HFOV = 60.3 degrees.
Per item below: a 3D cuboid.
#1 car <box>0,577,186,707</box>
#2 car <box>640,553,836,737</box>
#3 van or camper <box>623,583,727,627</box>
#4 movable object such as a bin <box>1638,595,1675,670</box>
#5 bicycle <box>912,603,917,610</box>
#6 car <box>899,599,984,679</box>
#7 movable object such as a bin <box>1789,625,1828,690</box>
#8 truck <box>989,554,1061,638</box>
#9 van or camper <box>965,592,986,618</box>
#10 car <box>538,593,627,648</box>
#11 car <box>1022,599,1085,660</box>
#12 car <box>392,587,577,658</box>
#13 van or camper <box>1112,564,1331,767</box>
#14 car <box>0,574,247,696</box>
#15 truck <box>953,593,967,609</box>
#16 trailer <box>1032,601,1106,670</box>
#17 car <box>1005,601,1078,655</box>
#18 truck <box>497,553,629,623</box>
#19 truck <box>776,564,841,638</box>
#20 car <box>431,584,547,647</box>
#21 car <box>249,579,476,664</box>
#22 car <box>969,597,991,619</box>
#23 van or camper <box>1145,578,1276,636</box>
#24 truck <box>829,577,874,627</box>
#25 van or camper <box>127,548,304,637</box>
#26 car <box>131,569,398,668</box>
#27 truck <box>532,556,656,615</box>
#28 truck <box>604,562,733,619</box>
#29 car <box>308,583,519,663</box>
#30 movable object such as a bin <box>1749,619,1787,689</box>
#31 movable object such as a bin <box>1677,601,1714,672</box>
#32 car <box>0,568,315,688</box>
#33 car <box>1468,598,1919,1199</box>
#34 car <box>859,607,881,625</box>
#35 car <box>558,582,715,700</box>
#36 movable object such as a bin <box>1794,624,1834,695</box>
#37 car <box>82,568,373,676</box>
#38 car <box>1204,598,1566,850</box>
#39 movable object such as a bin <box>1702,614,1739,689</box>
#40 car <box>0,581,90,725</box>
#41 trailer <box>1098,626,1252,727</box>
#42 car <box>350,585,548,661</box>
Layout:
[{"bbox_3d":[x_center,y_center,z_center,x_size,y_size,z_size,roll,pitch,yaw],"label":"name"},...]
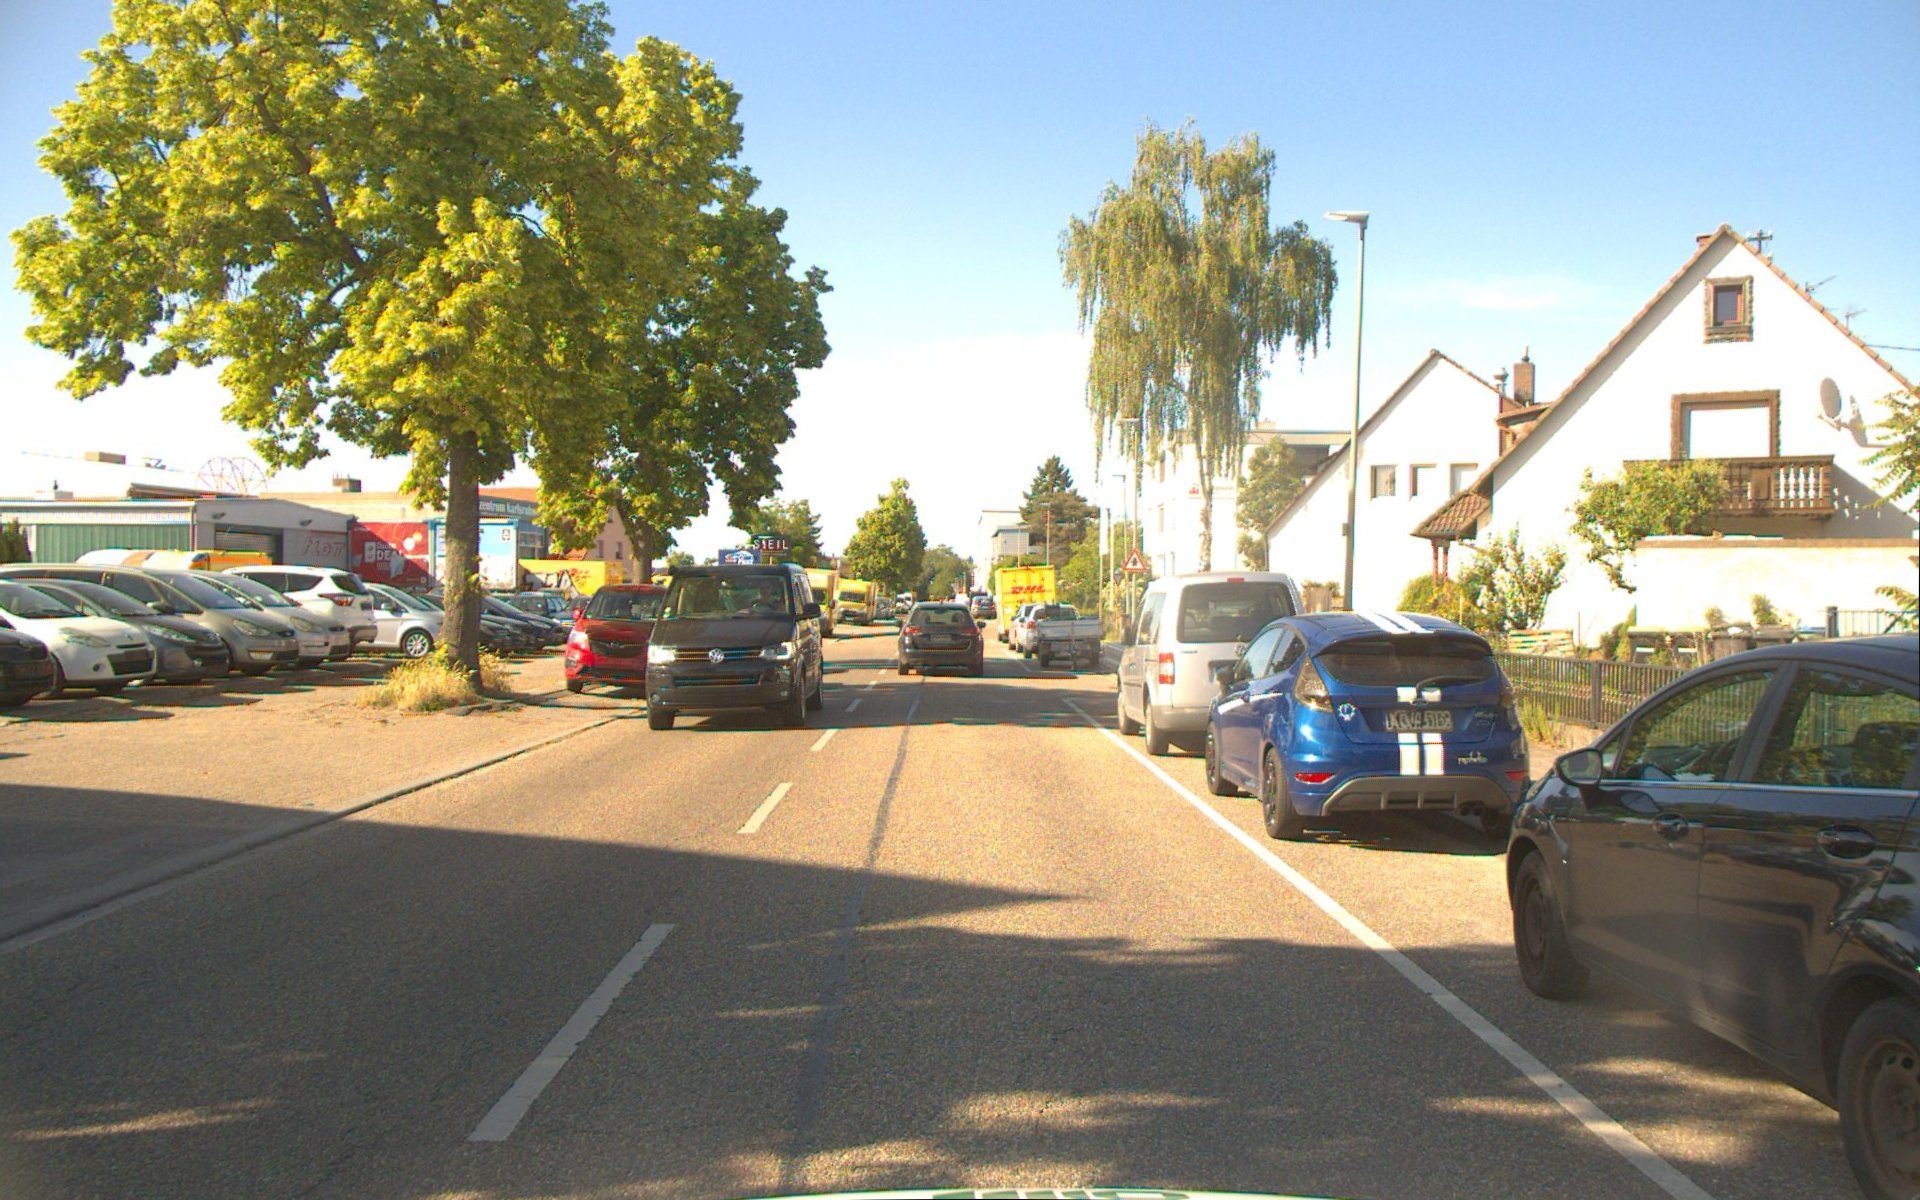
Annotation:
[{"bbox_3d":[-12.451,0.503,21.278,4.159,1.568,1.767,0,1,4],"label":"car"},{"bbox_3d":[-2.731,0.509,21.411,1.855,2.067,4.817,-1,0,0],"label":"car"},{"bbox_3d":[-13.609,0.227,79.128,4.447,2.049,2.252,0,0,6],"label":"van or camper"},{"bbox_3d":[10.614,0.488,25.208,0.493,1.115,0.458,0,0,27],"label":"movable object such as a bin"},{"bbox_3d":[-7.050,0.981,254.650,0.812,1.173,2.939,0,0,-2],"label":"bicycle"},{"bbox_3d":[-0.342,0.761,34.482,1.676,1.559,3.687,0,0,0],"label":"car"},{"bbox_3d":[12.436,0.832,24.242,0.493,0.928,0.458,0,0,27],"label":"movable object such as a bin"},{"bbox_3d":[2.443,-0.126,63.999,2.354,2.988,7.015,-2,0,-1],"label":"truck"},{"bbox_3d":[1.431,0.456,154.686,1.953,2.351,4.000,0,0,0],"label":"van or camper"},{"bbox_3d":[-11.561,0.669,50.937,1.823,1.618,4.275,0,-2,-1],"label":"car"},{"bbox_3d":[2.574,0.768,45.788,1.639,1.569,4.044,1,0,3],"label":"car"},{"bbox_3d":[-12.088,0.556,42.191,4.159,1.759,1.767,0,0,5],"label":"car"},{"bbox_3d":[2.703,0.623,17.945,1.683,1.924,4.179,1,0,0],"label":"van or camper"},{"bbox_3d":[-12.565,0.458,23.372,4.163,1.613,1.765,1,0,-2],"label":"car"},{"bbox_3d":[-0.027,0.133,248.940,1.953,2.328,6.954,0,0,0],"label":"truck"},{"bbox_3d":[2.606,0.827,39.923,1.594,1.565,3.198,0,0,0],"label":"trailer"},{"bbox_3d":[2.482,0.848,51.533,1.748,1.569,4.534,0,0,-4],"label":"car"},{"bbox_3d":[-19.182,-0.584,80.020,5.547,3.174,2.525,2,0,11],"label":"truck"},{"bbox_3d":[-6.675,0.051,73.756,2.354,3.035,7.243,2,0,-2],"label":"truck"},{"bbox_3d":[-14.299,0.431,50.430,1.738,1.778,4.168,0,1,10],"label":"car"},{"bbox_3d":[-12.674,0.453,35.244,4.161,1.759,1.766,0,0,1],"label":"car"},{"bbox_3d":[1.719,0.674,144.181,1.880,1.857,4.079,0,0,0],"label":"car"},{"bbox_3d":[11.537,0.334,76.115,5.741,2.586,2.271,0,0,-26],"label":"van or camper"},{"bbox_3d":[-6.852,0.115,105.404,2.354,3.035,6.373,2,0,0],"label":"truck"},{"bbox_3d":[-24.354,-0.236,54.455,2.118,2.763,6.275,0,0,10],"label":"van or camper"},{"bbox_3d":[-12.718,0.329,30.374,4.159,1.759,1.767,0,0,5],"label":"car"},{"bbox_3d":[-19.021,-0.737,86.059,5.961,3.024,2.175,0,0,12],"label":"truck"},{"bbox_3d":[-14.432,-0.464,81.982,5.795,2.612,2.226,2,0,11],"label":"truck"},{"bbox_3d":[-12.317,0.514,37.398,4.159,1.759,1.767,0,0,5],"label":"car"},{"bbox_3d":[11.975,0.795,24.505,0.493,1.017,0.458,0,0,27],"label":"movable object such as a bin"},{"bbox_3d":[11.116,0.543,24.992,0.493,1.044,0.458,0,0,27],"label":"movable object such as a bin"},{"bbox_3d":[-12.380,0.419,25.497,4.160,1.783,1.766,0,0,3],"label":"car"},{"bbox_3d":[3.156,0.772,5.415,1.684,1.531,3.905,1,0,-2],"label":"car"},{"bbox_3d":[-7.330,1.302,134.542,1.721,1.428,4.555,0,0,-2],"label":"car"},{"bbox_3d":[-5.387,0.641,28.077,1.767,1.783,4.341,2,0,0],"label":"car"},{"bbox_3d":[12.211,0.845,23.654,0.493,0.982,0.458,0,0,27],"label":"movable object such as a bin"},{"bbox_3d":[-12.336,0.360,27.984,4.159,1.759,1.767,0,0,5],"label":"car"},{"bbox_3d":[2.892,0.763,11.999,1.683,1.531,3.563,1,0,0],"label":"car"},{"bbox_3d":[11.430,0.764,24.859,0.493,1.097,0.458,0,0,27],"label":"movable object such as a bin"},{"bbox_3d":[-12.462,0.549,18.868,4.159,1.569,1.767,1,0,5],"label":"car"},{"bbox_3d":[2.942,1.027,23.193,1.595,1.238,3.143,0,0,-3],"label":"trailer"},{"bbox_3d":[-12.217,0.534,39.651,4.159,1.759,1.767,0,0,5],"label":"car"}]
